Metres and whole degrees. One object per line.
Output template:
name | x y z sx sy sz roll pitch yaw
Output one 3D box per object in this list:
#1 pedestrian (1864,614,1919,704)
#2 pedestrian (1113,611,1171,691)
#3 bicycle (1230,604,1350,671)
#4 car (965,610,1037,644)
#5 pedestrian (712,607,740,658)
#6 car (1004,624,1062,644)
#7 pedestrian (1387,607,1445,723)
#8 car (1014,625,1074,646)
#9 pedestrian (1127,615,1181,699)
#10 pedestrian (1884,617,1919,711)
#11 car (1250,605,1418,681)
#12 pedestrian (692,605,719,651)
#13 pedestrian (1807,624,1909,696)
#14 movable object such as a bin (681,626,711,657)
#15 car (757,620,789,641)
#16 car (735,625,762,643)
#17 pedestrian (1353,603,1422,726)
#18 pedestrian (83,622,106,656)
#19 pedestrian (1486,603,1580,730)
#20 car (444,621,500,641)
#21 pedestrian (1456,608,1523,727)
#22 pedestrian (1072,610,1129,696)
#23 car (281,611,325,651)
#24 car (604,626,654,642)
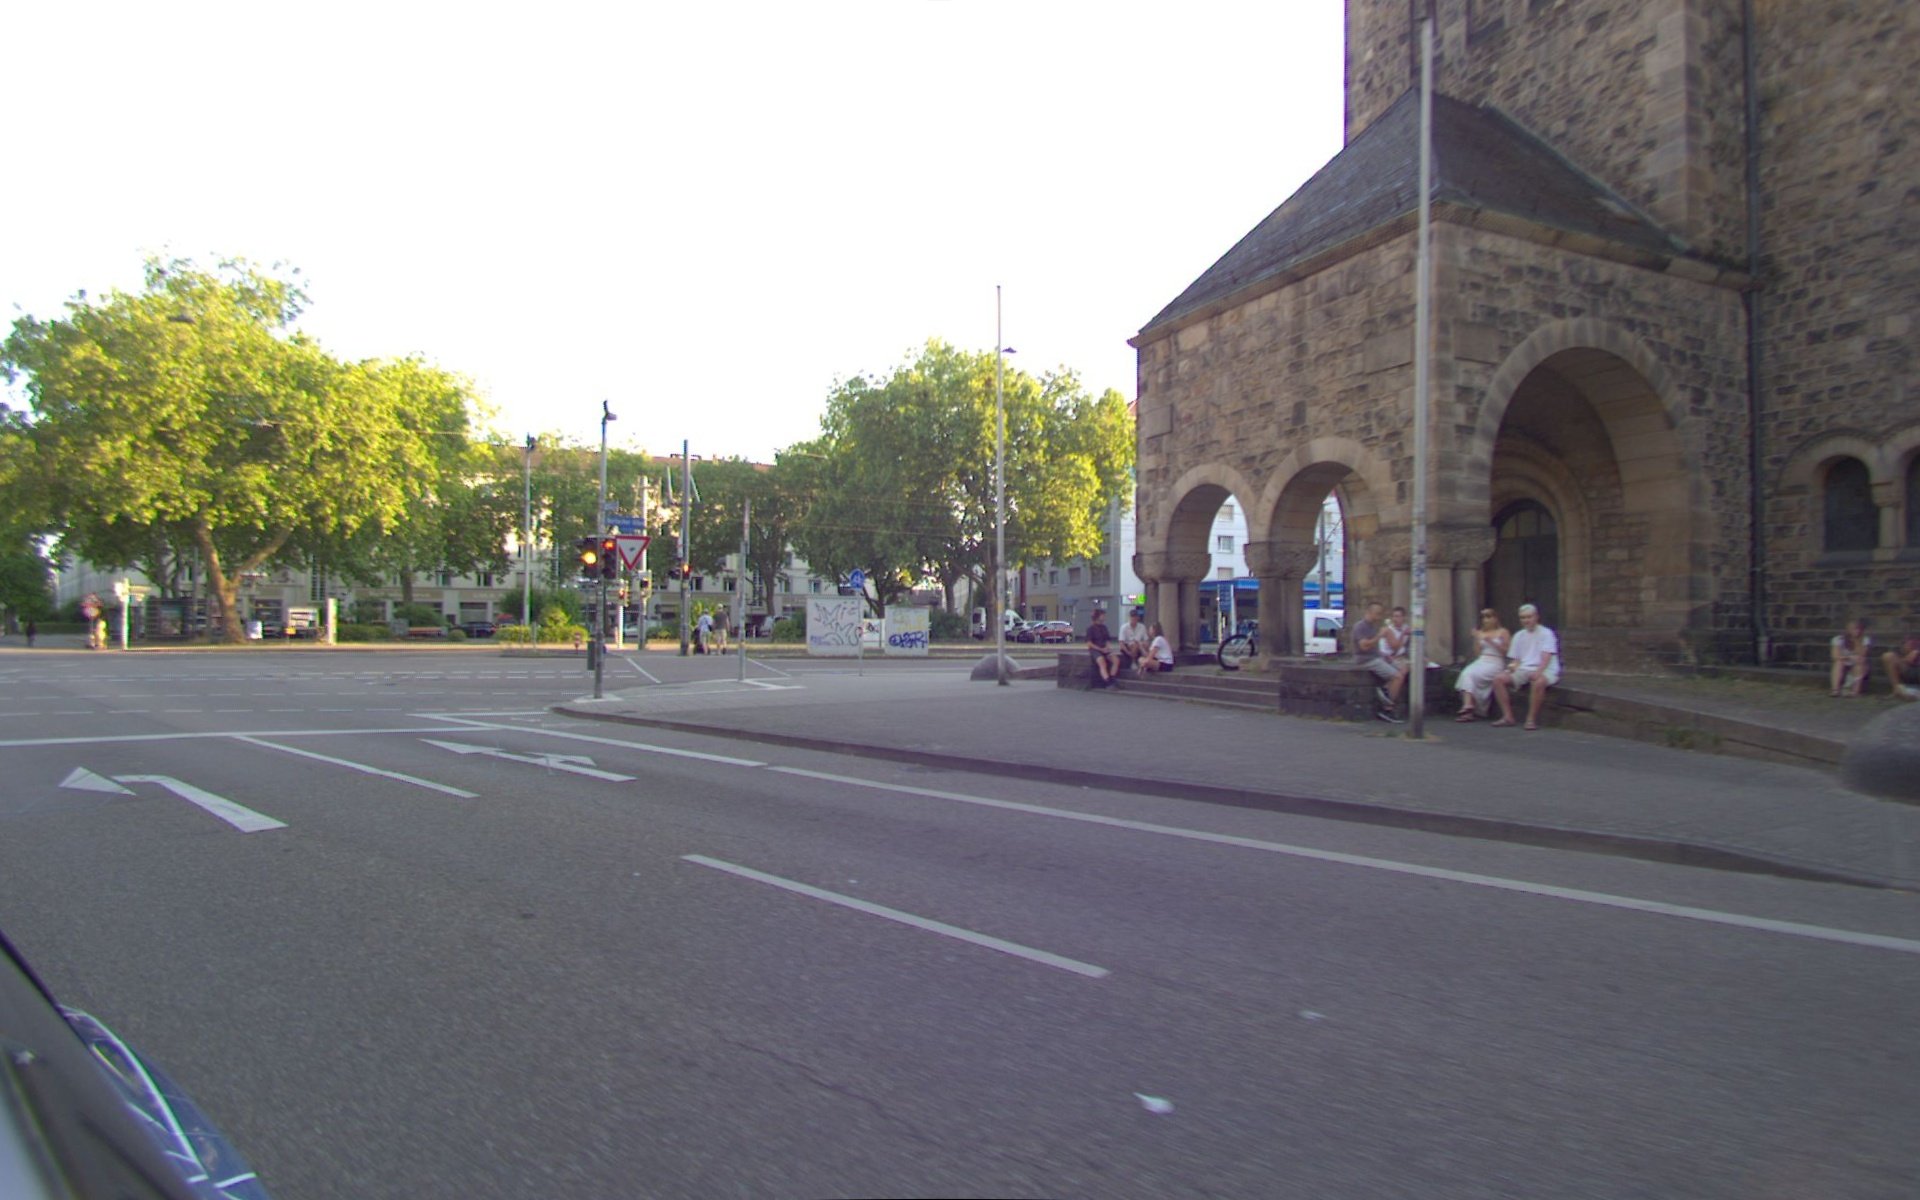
pedestrian | 11.979 0.726 12.604 0.819 1.084 0.647 0 -2 2
pedestrian | 3.241 0.896 18.013 0.790 1.385 0.701 1 -2 -15
bicycle | 5.568 0.630 17.001 2.247 1.065 0.597 1 -2 -31
car | 3.305 2.194 81.614 5.482 2.638 2.006 1 -2 -25
pedestrian | -8.578 1.186 37.039 0.699 1.861 1.163 1 -2 -28
car | 5.503 2.560 76.268 3.931 1.493 1.759 1 -2 -18
pedestrian | 5.740 0.804 12.750 0.395 1.417 0.549 1 -2 -14
car | 6.143 2.584 74.011 3.931 1.493 1.759 1 -2 -18
pedestrian | 3.267 0.949 17.111 0.793 1.385 0.699 0 -2 3
pedestrian | 11.866 0.755 11.911 1.315 1.102 0.685 0 -2 2
car | 9.682 1.099 26.587 1.557 1.822 4.420 1 -2 -23
pedestrian | -9.261 1.008 36.743 0.708 1.646 1.010 1 -2 -28
pedestrian | 11.763 0.774 13.280 0.730 0.923 0.647 0 -2 2
movable object such as a bin | -9.850 1.523 37.728 0.847 1.128 1.141 1 -2 -29
car | -16.694 2.720 90.420 1.965 1.851 4.331 1 -2 -22
car | -20.626 3.284 98.723 1.965 1.752 4.013 1 -2 -21
pedestrian | 5.240 0.779 12.422 0.541 1.464 0.559 1 -2 -14
pedestrian | -42.503 1.898 49.691 0.734 1.641 0.662 1 -2 -32
pedestrian | 6.640 0.758 11.753 0.692 1.417 0.634 1 -2 -14
car | -41.290 2.630 85.692 3.932 1.719 2.006 1 -2 -15
pedestrian | 6.447 0.813 12.326 0.539 1.417 0.460 1 -2 -14
pedestrian | 2.475 0.926 17.892 0.619 1.465 0.918 1 -2 -22
car | -34.522 1.630 53.159 1.837 2.029 3.820 2 -2 -34
car | -29.387 3.033 89.902 3.931 1.429 1.815 1 -2 -30
